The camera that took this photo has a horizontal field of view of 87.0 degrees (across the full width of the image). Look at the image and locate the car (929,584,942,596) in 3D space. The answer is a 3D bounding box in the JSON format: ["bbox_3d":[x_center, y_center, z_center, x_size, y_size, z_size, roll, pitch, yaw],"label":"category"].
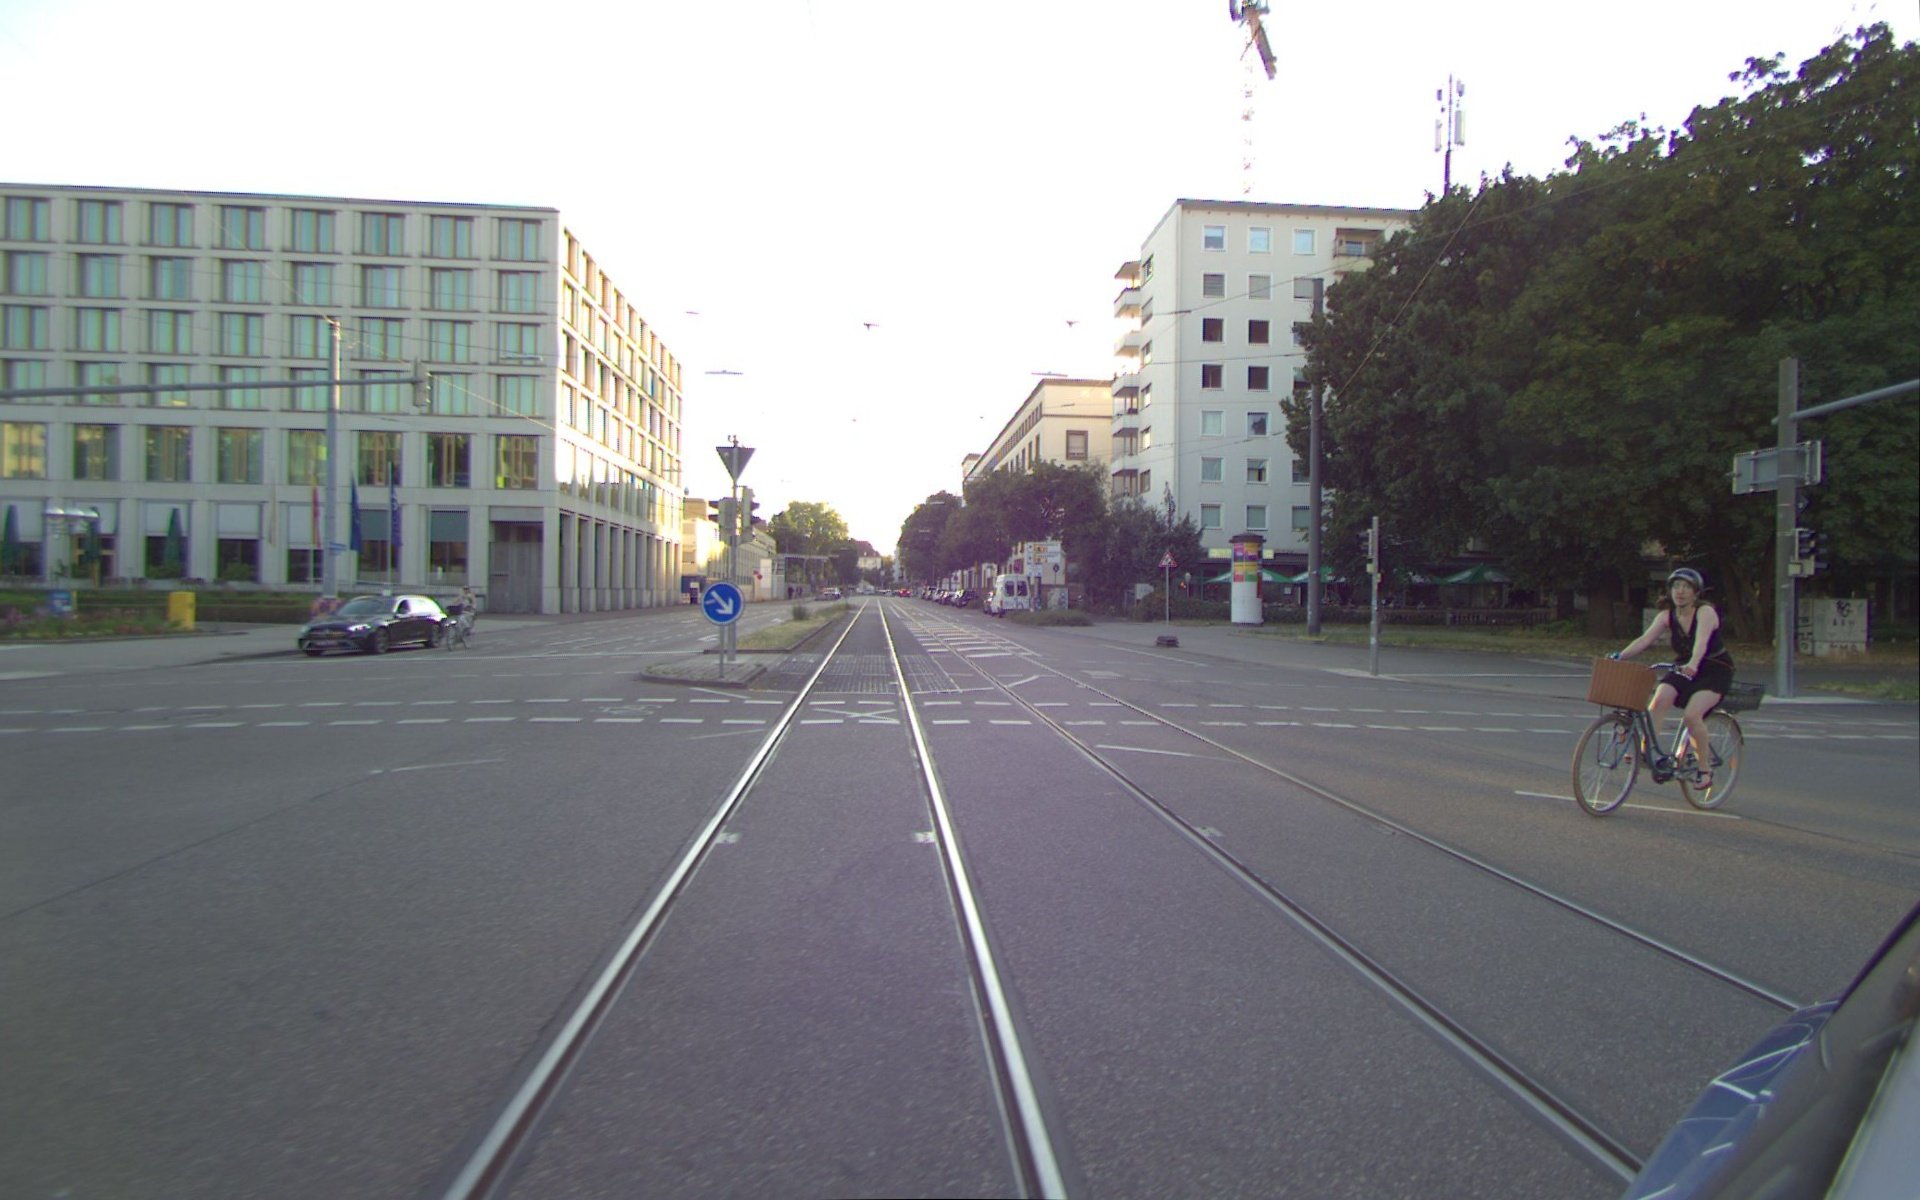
[{"bbox_3d":[-3.355,-1.390,140.293,1.690,1.506,3.810,1,1,-1],"label":"car"}]

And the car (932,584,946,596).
[{"bbox_3d":[-2.555,-1.248,125.628,1.690,1.506,3.810,1,1,-1],"label":"car"}]

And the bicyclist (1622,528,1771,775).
[{"bbox_3d":[5.196,0.341,7.160,0.584,1.656,0.611,0,0,-17],"label":"bicyclist"}]

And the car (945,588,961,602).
[{"bbox_3d":[-0.754,-0.502,106.564,1.690,1.448,3.811,0,1,-2],"label":"car"}]

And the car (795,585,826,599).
[{"bbox_3d":[-19.266,-1.040,130.573,3.733,1.669,1.865,0,0,-5],"label":"car"}]

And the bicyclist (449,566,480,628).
[{"bbox_3d":[-13.545,-0.080,27.678,0.531,1.656,0.597,1,0,2],"label":"bicyclist"}]

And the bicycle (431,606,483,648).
[{"bbox_3d":[-13.557,0.700,27.315,0.530,1.065,1.760,0,0,1],"label":"bicycle"}]

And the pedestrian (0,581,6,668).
[{"bbox_3d":[-18.601,0.460,19.166,0.618,1.647,0.535,0,0,13],"label":"pedestrian"}]

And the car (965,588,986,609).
[{"bbox_3d":[1.283,-0.150,85.247,1.690,1.726,3.810,1,1,-1],"label":"car"}]

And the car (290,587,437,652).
[{"bbox_3d":[-15.692,0.444,26.931,1.780,1.542,4.818,-1,1,-10],"label":"car"}]

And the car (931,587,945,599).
[{"bbox_3d":[-2.783,-0.833,125.834,1.690,1.448,3.811,0,1,-2],"label":"car"}]

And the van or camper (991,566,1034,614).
[{"bbox_3d":[3.102,-0.611,60.722,2.070,2.715,4.713,1,0,-3],"label":"van or camper"}]

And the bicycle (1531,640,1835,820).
[{"bbox_3d":[5.101,0.864,7.140,2.042,1.128,0.611,0,0,-17],"label":"bicycle"}]
